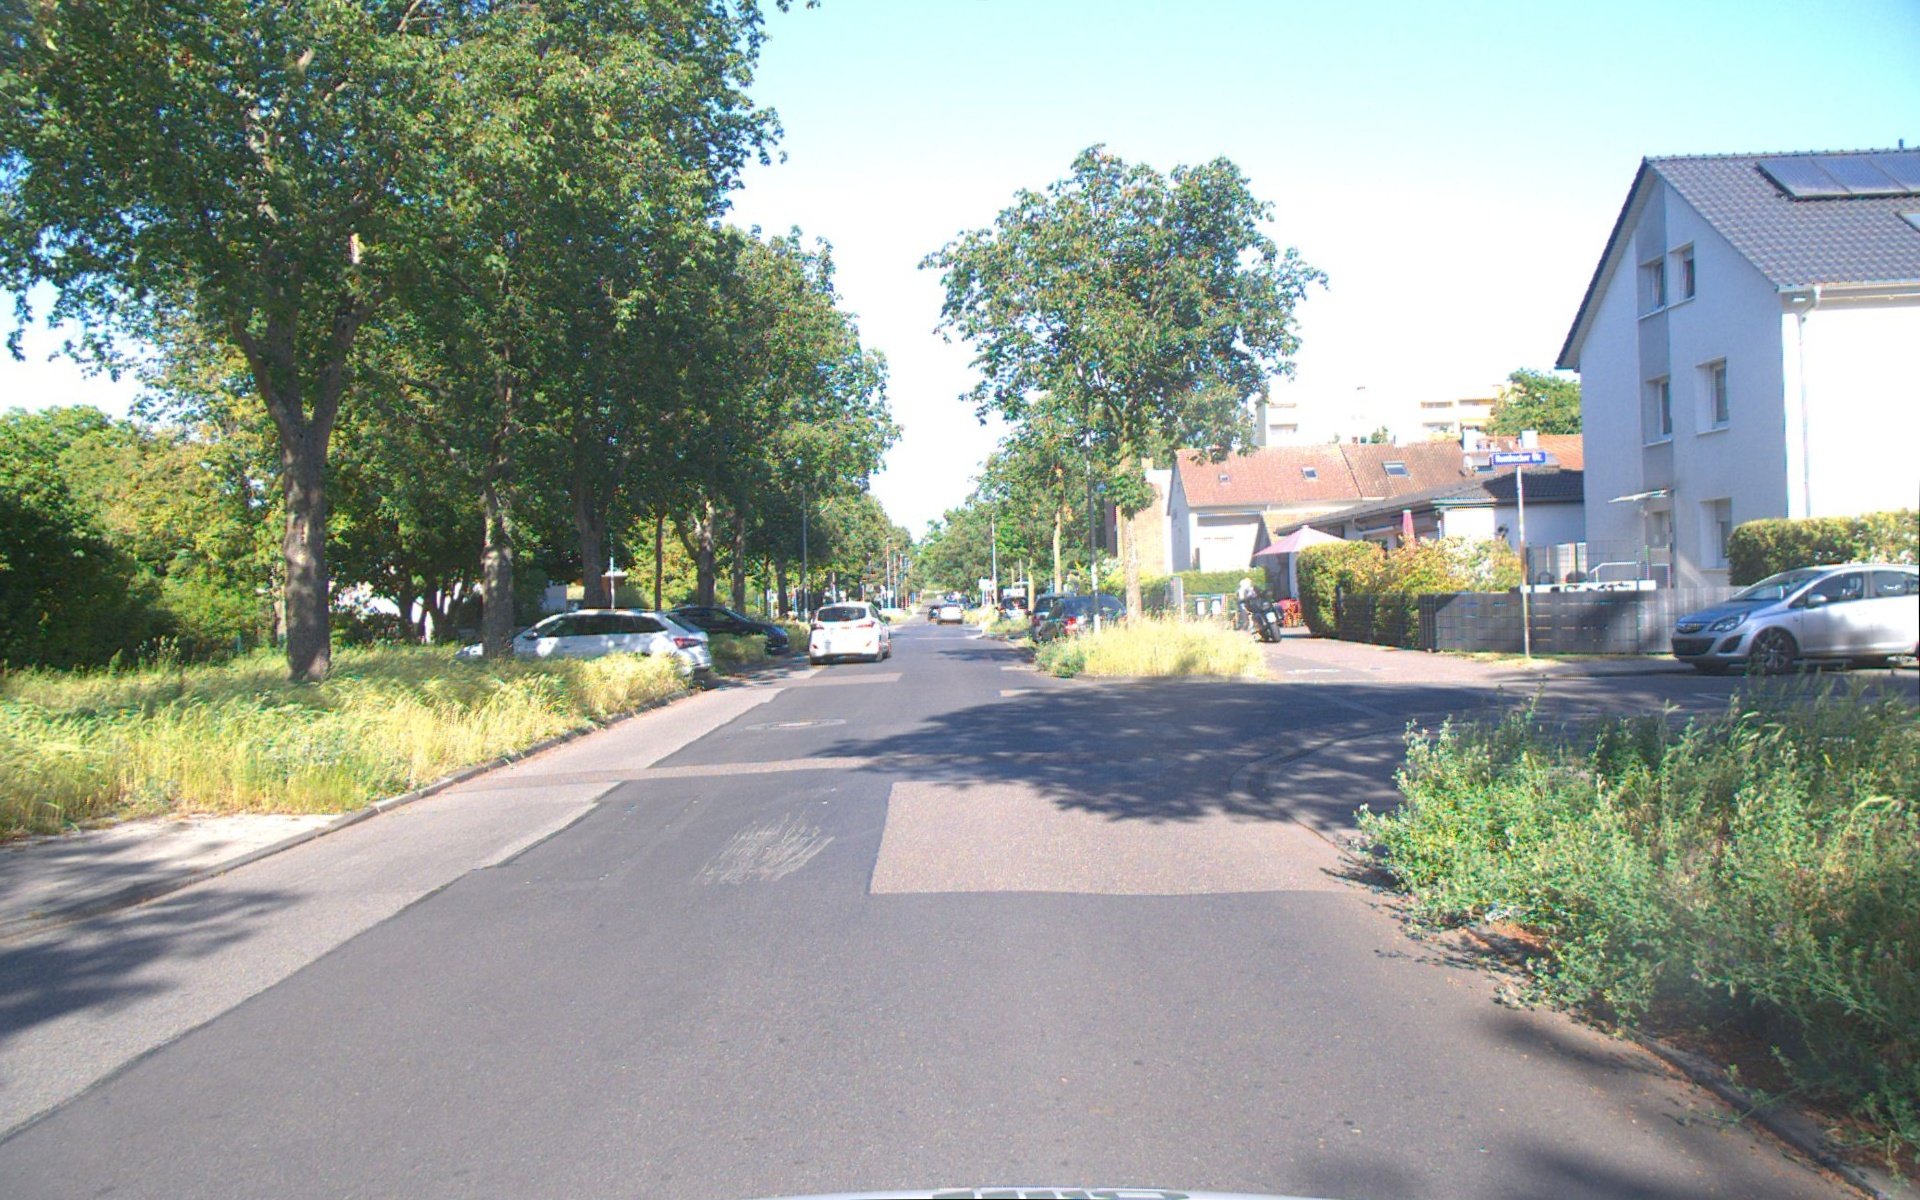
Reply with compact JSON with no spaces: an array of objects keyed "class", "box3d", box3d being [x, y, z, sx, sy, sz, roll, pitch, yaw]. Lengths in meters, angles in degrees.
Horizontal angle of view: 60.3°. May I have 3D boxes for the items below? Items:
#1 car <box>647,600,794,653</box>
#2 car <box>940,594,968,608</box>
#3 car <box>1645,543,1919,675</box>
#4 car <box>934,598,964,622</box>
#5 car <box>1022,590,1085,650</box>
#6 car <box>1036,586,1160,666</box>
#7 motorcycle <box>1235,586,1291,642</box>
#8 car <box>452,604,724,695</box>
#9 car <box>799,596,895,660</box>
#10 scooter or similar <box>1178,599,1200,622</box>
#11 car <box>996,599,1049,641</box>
[{"class":"car","box3d":[-7.291,0.806,50.669,4.279,1.558,1.807,0,-1,-2]},{"class":"car","box3d":[-0.868,0.153,236.628,3.908,1.780,1.999,-2,0,-3]},{"class":"car","box3d":[12.034,0.097,23.429,3.911,1.668,1.774,-2,0,-7]},{"class":"car","box3d":[-0.736,0.655,109.343,1.953,1.534,3.657,1,0,-1]},{"class":"car","box3d":[2.733,0.584,49.235,1.577,1.650,4.381,1,0,0]},{"class":"car","box3d":[3.035,0.569,37.291,1.955,1.650,4.375,1,0,-7]},{"class":"motorcycle","box3d":[7.191,0.311,39.330,0.801,1.248,2.351,-3,0,-1]},{"class":"car","box3d":[-6.880,0.901,30.954,4.575,1.529,2.000,-1,0,0]},{"class":"car","box3d":[-2.799,0.661,41.910,1.952,1.480,4.226,-2,0,2]},{"class":"scooter or similar","box3d":[8.851,0.401,63.984,0.361,0.873,1.407,-1,0,-14]},{"class":"car","box3d":[2.842,0.940,76.024,1.954,1.758,3.997,-3,-1,-3]}]
